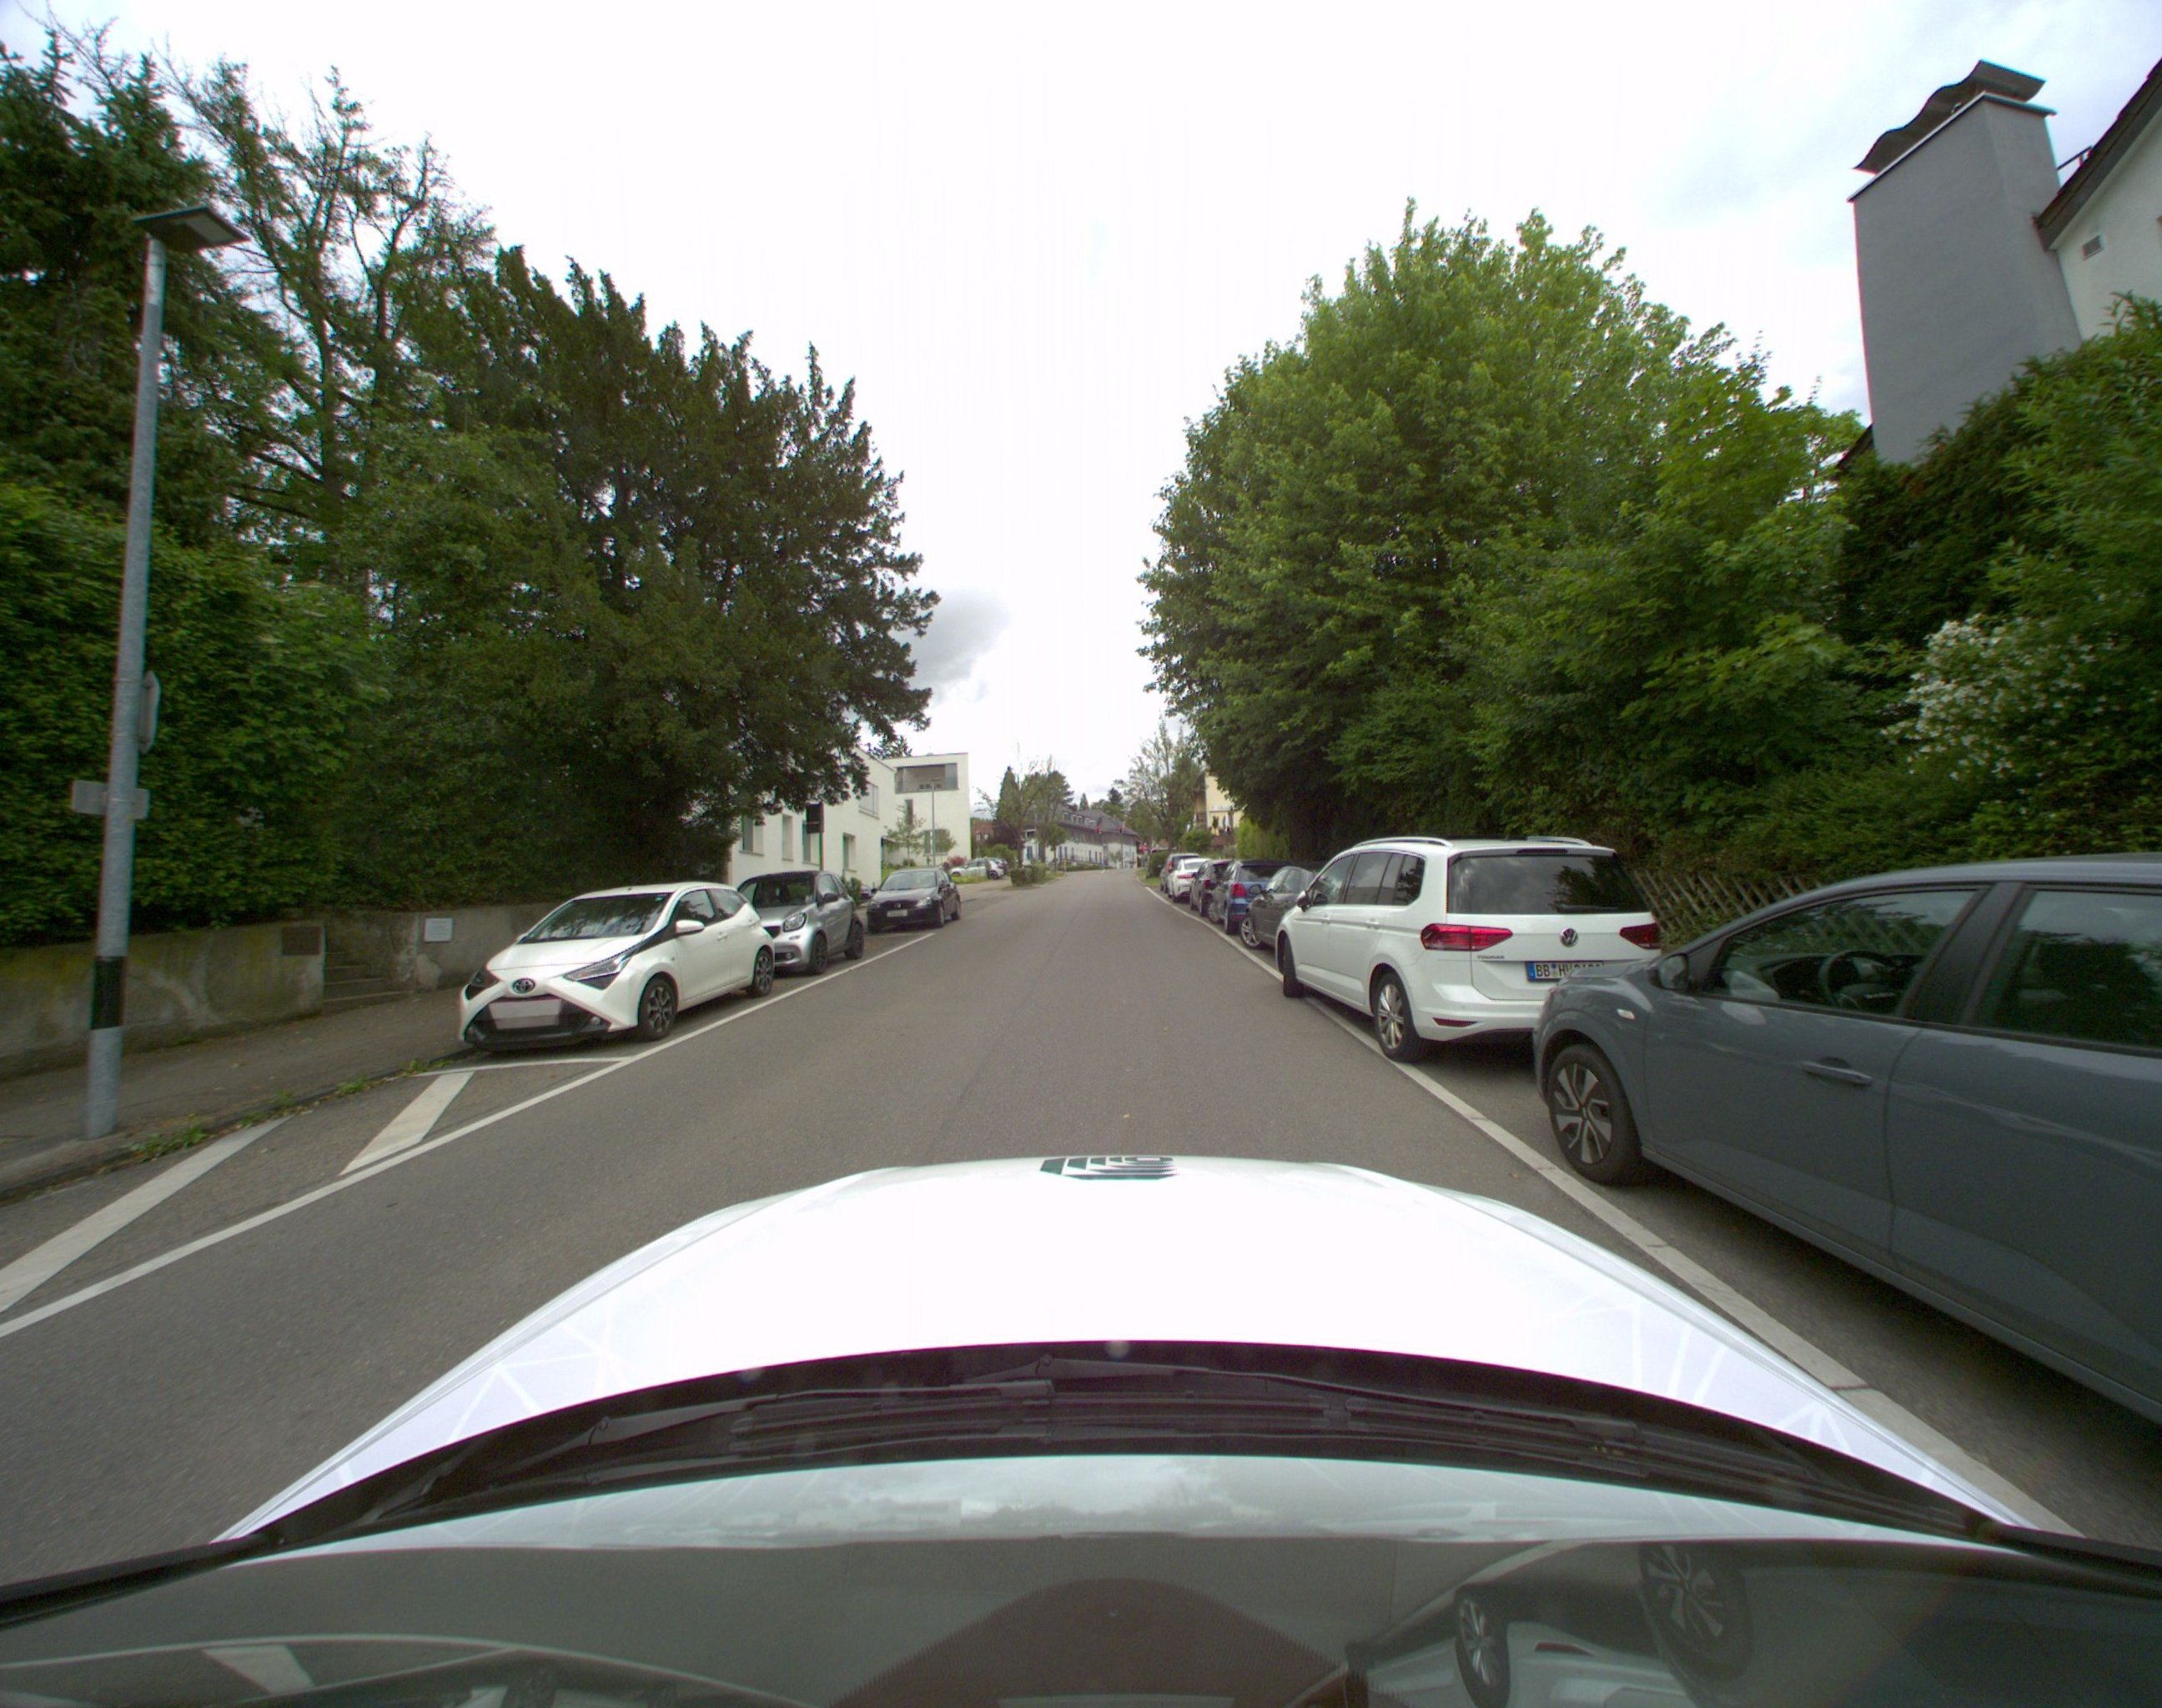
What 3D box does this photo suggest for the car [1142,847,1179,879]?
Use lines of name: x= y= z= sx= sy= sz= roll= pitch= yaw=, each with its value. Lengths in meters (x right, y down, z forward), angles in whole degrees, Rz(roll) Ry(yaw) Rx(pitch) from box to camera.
car: x=4.890 y=0.558 z=50.591 sx=1.928 sy=1.838 sz=5.222 roll=-2 pitch=0 yaw=2

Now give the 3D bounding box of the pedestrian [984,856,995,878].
pedestrian: x=-6.767 y=0.962 z=60.139 sx=0.591 sy=1.640 sz=0.566 roll=-3 pitch=-1 yaw=3

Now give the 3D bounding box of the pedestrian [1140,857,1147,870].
pedestrian: x=8.641 y=1.329 z=112.775 sx=0.677 sy=1.682 sz=0.705 roll=-3 pitch=-1 yaw=37

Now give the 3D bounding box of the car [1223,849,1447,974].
car: x=3.515 y=0.732 z=12.228 sx=1.805 sy=1.452 sz=4.374 roll=-3 pitch=-1 yaw=-2

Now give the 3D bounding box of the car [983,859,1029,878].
car: x=-7.434 y=1.418 z=81.051 sx=4.247 sy=1.623 sz=2.013 roll=-3 pitch=-2 yaw=-1

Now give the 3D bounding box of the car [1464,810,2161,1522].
car: x=3.236 y=0.624 z=2.613 sx=1.931 sy=1.491 sz=4.457 roll=-3 pitch=0 yaw=1

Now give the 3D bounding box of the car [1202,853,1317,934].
car: x=3.618 y=0.745 z=17.204 sx=1.691 sy=1.508 sz=4.162 roll=0 pitch=0 yaw=2

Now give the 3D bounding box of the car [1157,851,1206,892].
car: x=4.160 y=0.706 z=34.231 sx=1.710 sy=1.632 sz=3.930 roll=-1 pitch=0 yaw=2

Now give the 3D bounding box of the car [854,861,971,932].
car: x=-4.102 y=0.979 z=20.610 sx=1.844 sy=1.469 sz=4.683 roll=-3 pitch=0 yaw=1

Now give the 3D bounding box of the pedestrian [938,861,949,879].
pedestrian: x=-10.141 y=1.178 z=59.932 sx=0.604 sy=1.283 sz=0.900 roll=-1 pitch=-1 yaw=2

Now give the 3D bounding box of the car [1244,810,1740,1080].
car: x=3.111 y=0.582 z=7.564 sx=1.996 sy=1.608 sz=4.754 roll=-3 pitch=0 yaw=-2

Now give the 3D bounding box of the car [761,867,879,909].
car: x=-9.555 y=1.225 z=30.030 sx=3.786 sy=1.354 sz=1.739 roll=-2 pitch=-1 yaw=-4

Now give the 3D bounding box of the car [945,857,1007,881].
car: x=-7.965 y=1.153 z=62.214 sx=4.372 sy=1.566 sz=2.066 roll=-3 pitch=0 yaw=0

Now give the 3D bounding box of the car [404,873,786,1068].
car: x=-4.722 y=1.019 z=8.596 sx=1.738 sy=1.448 sz=3.514 roll=-5 pitch=-1 yaw=2

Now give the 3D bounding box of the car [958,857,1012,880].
car: x=-7.623 y=1.163 z=64.820 sx=3.970 sy=1.653 sz=2.010 roll=-2 pitch=-1 yaw=3

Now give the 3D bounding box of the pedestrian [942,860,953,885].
pedestrian: x=-9.277 y=1.278 z=56.716 sx=0.586 sy=1.682 sz=0.520 roll=-2 pitch=-1 yaw=3

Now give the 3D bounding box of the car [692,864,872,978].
car: x=-4.534 y=0.952 z=12.775 sx=1.618 sy=1.519 sz=2.976 roll=-2 pitch=-1 yaw=1

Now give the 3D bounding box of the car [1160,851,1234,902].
car: x=3.869 y=0.715 z=27.986 sx=1.985 sy=1.491 sz=5.008 roll=-3 pitch=0 yaw=3
